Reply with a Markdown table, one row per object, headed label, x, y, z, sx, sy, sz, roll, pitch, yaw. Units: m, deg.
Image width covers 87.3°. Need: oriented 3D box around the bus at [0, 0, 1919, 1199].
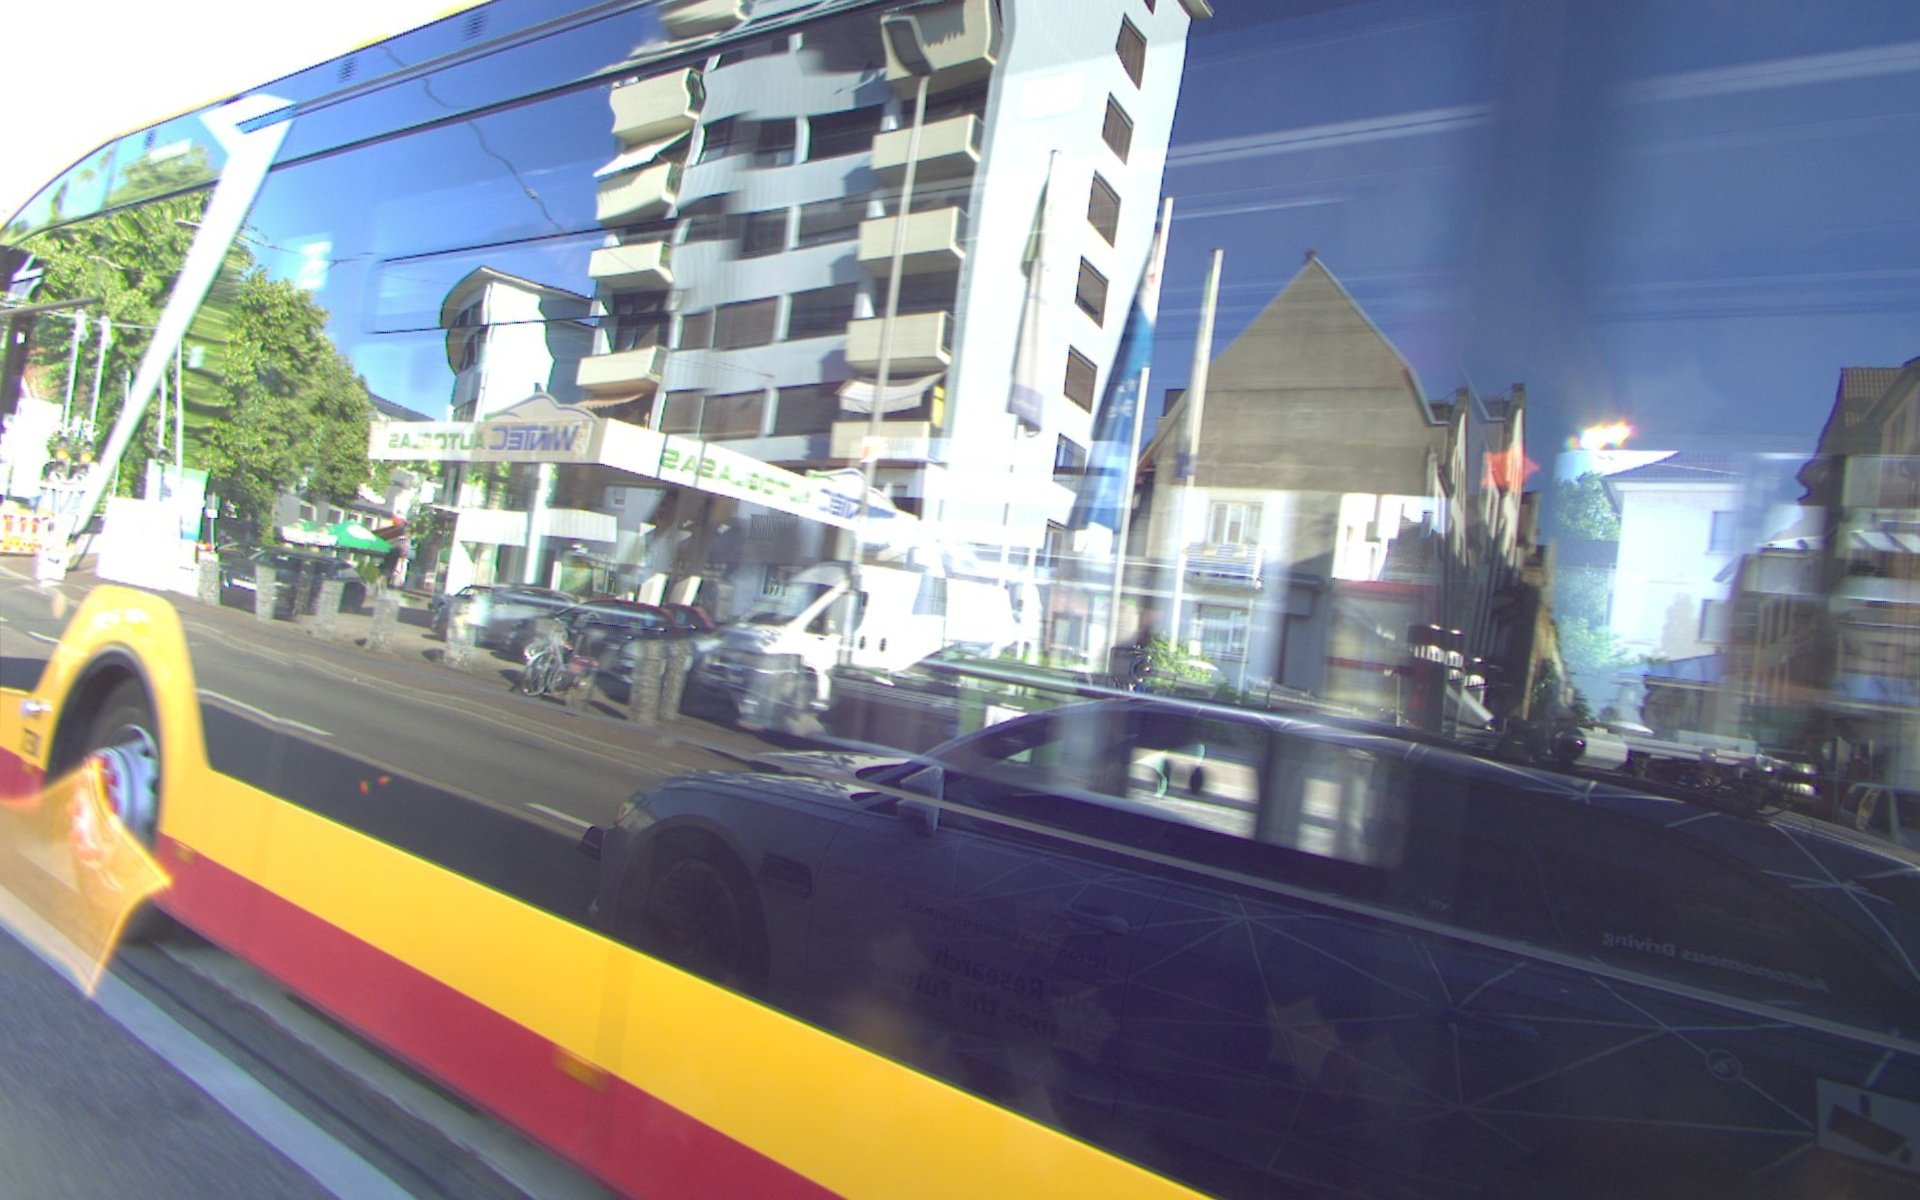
| label | x | y | z | sx | sy | sz | roll | pitch | yaw |
| --- | --- | --- | --- | --- | --- | --- | --- | --- | --- |
| bus | 0.531 | -0.057 | 2.918 | 11.820 | 3.455 | 2.694 | 7 | -2 | 32 |
